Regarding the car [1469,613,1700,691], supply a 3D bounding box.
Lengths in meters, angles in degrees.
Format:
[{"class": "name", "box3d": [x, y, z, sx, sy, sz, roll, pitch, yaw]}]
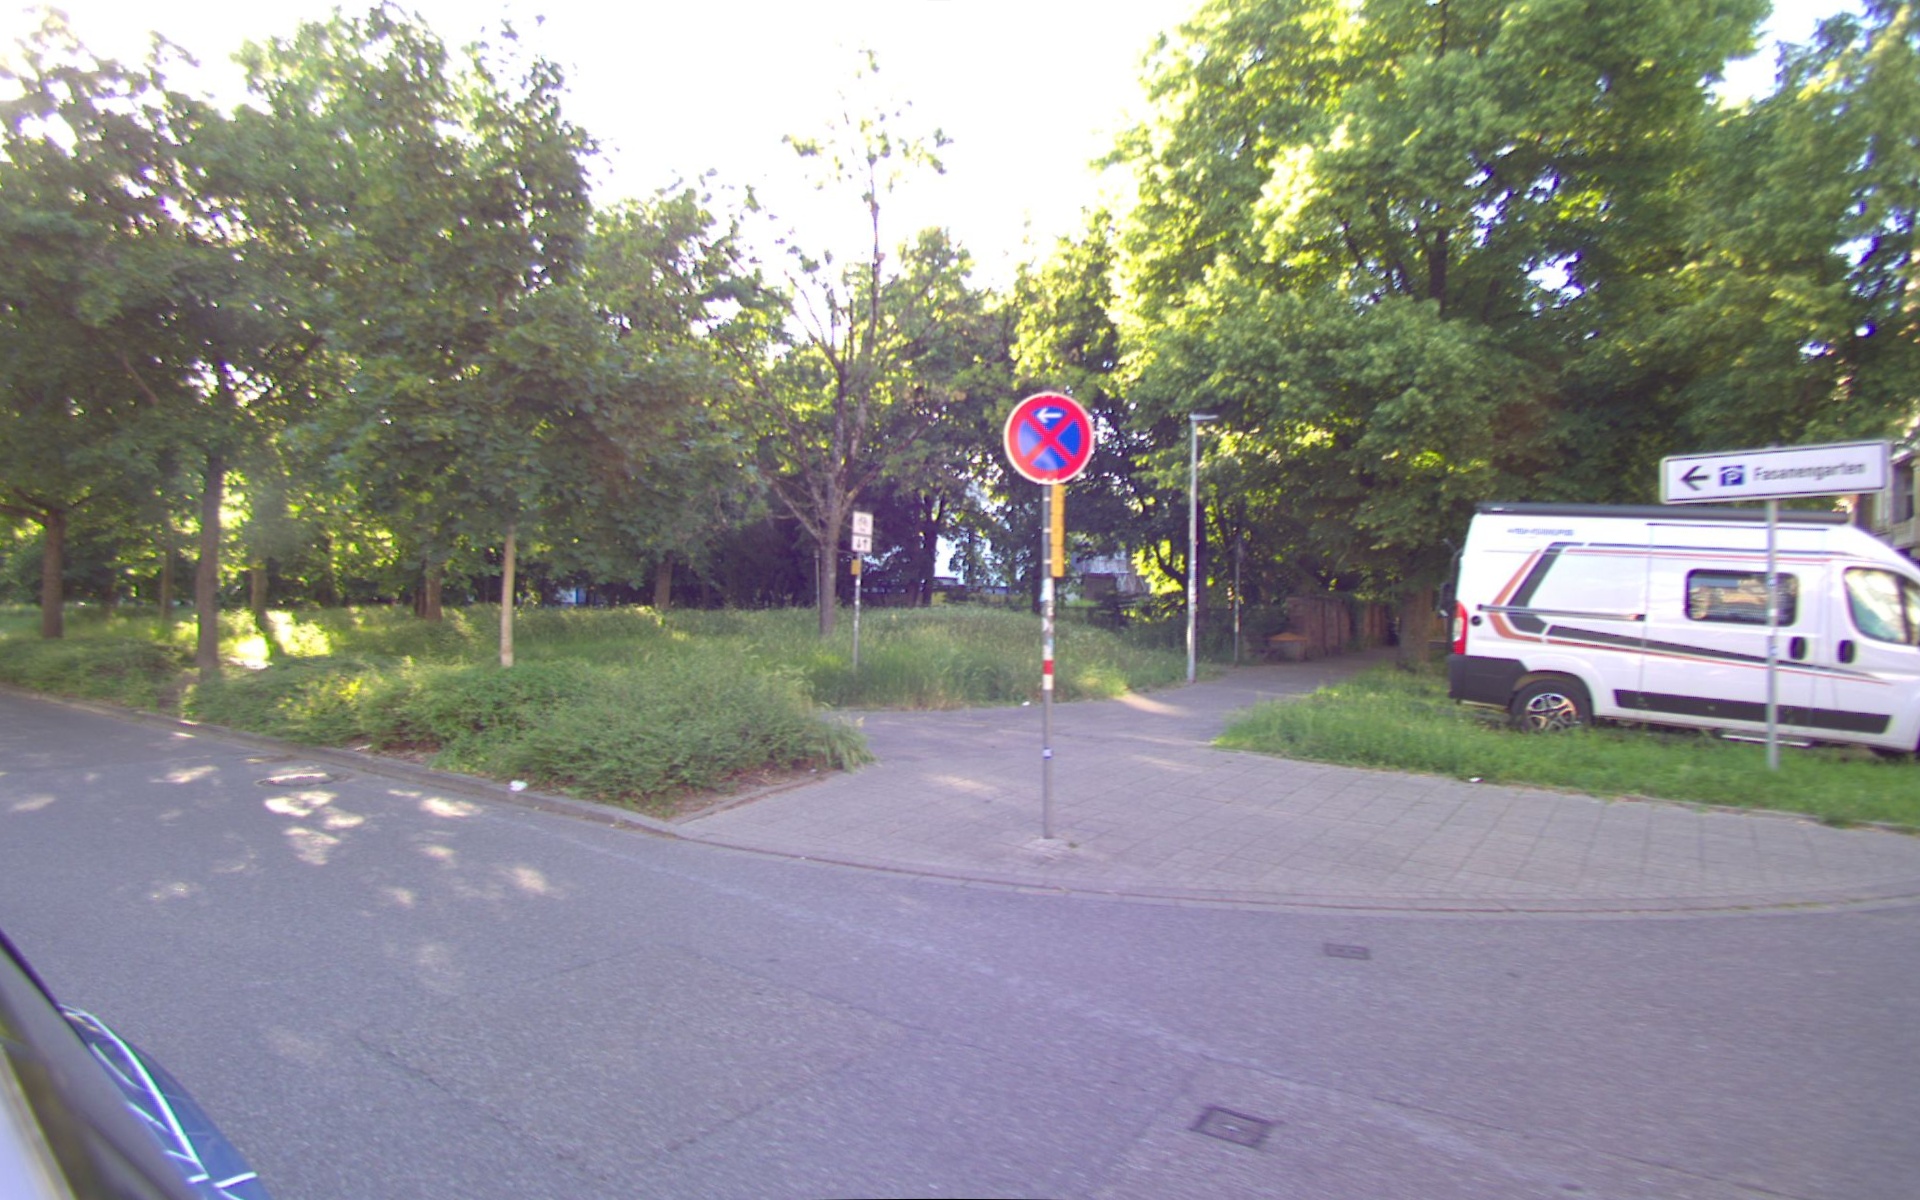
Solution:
[{"class": "car", "box3d": [12.639, 1.014, 20.779, 3.864, 1.453, 1.959, 0, -1, 29]}]

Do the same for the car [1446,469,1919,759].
[{"class": "car", "box3d": [8.286, 0.118, 10.697, 5.606, 2.634, 2.217, 0, 0, 29]}]

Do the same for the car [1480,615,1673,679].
[{"class": "car", "box3d": [14.842, 1.082, 24.620, 3.864, 1.388, 1.960, 0, 0, 29]}]
